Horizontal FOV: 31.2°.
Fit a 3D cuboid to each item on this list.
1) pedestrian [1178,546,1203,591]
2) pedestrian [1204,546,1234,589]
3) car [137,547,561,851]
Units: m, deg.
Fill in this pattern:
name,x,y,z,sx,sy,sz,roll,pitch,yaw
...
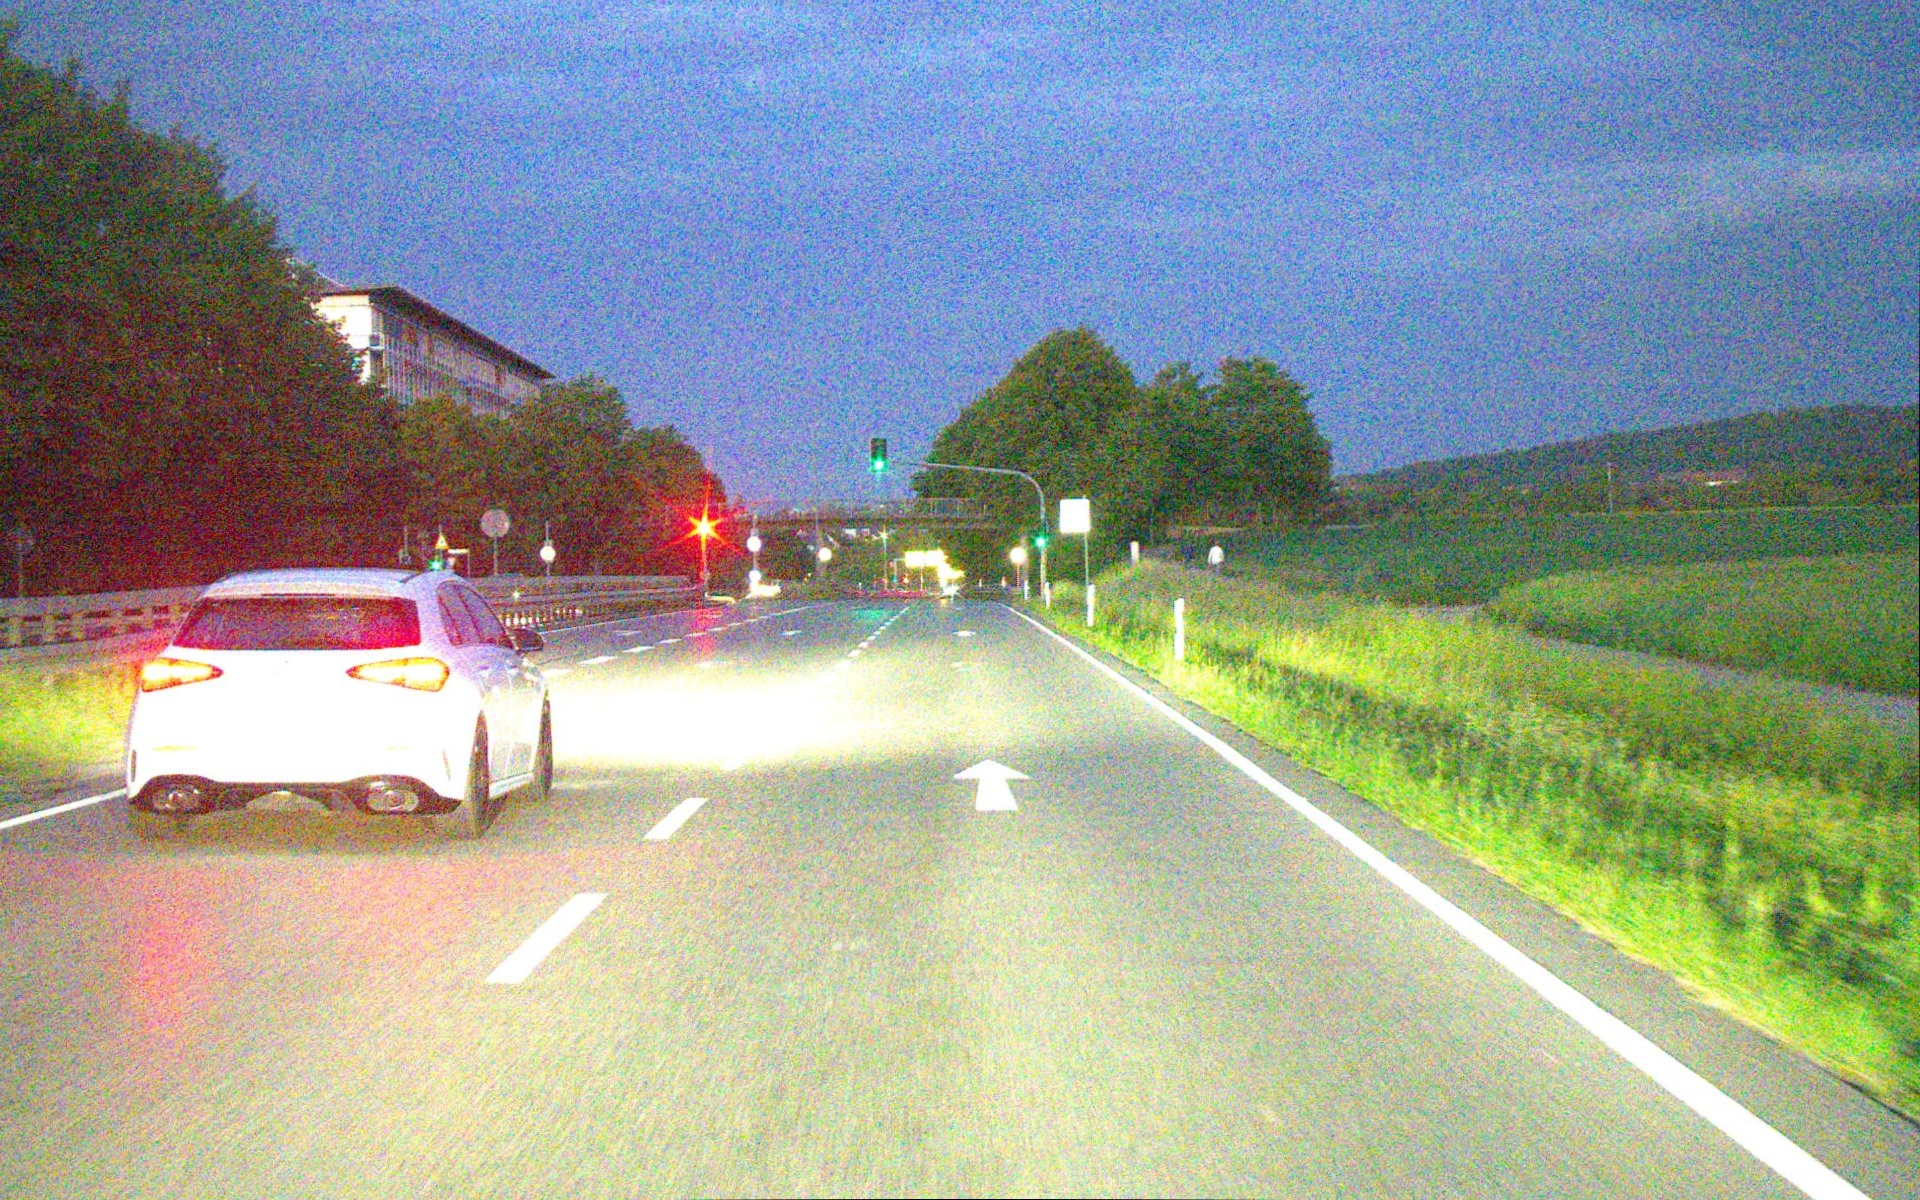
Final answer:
name,x,y,z,sx,sy,sz,roll,pitch,yaw
pedestrian,9.236,-1.271,137.710,0.922,1.787,1.106,0,1,0
pedestrian,10.347,-1.298,137.444,1.090,1.717,1.260,0,0,-1
car,-3.276,0.455,19.232,1.642,1.485,4.580,0,1,-1
